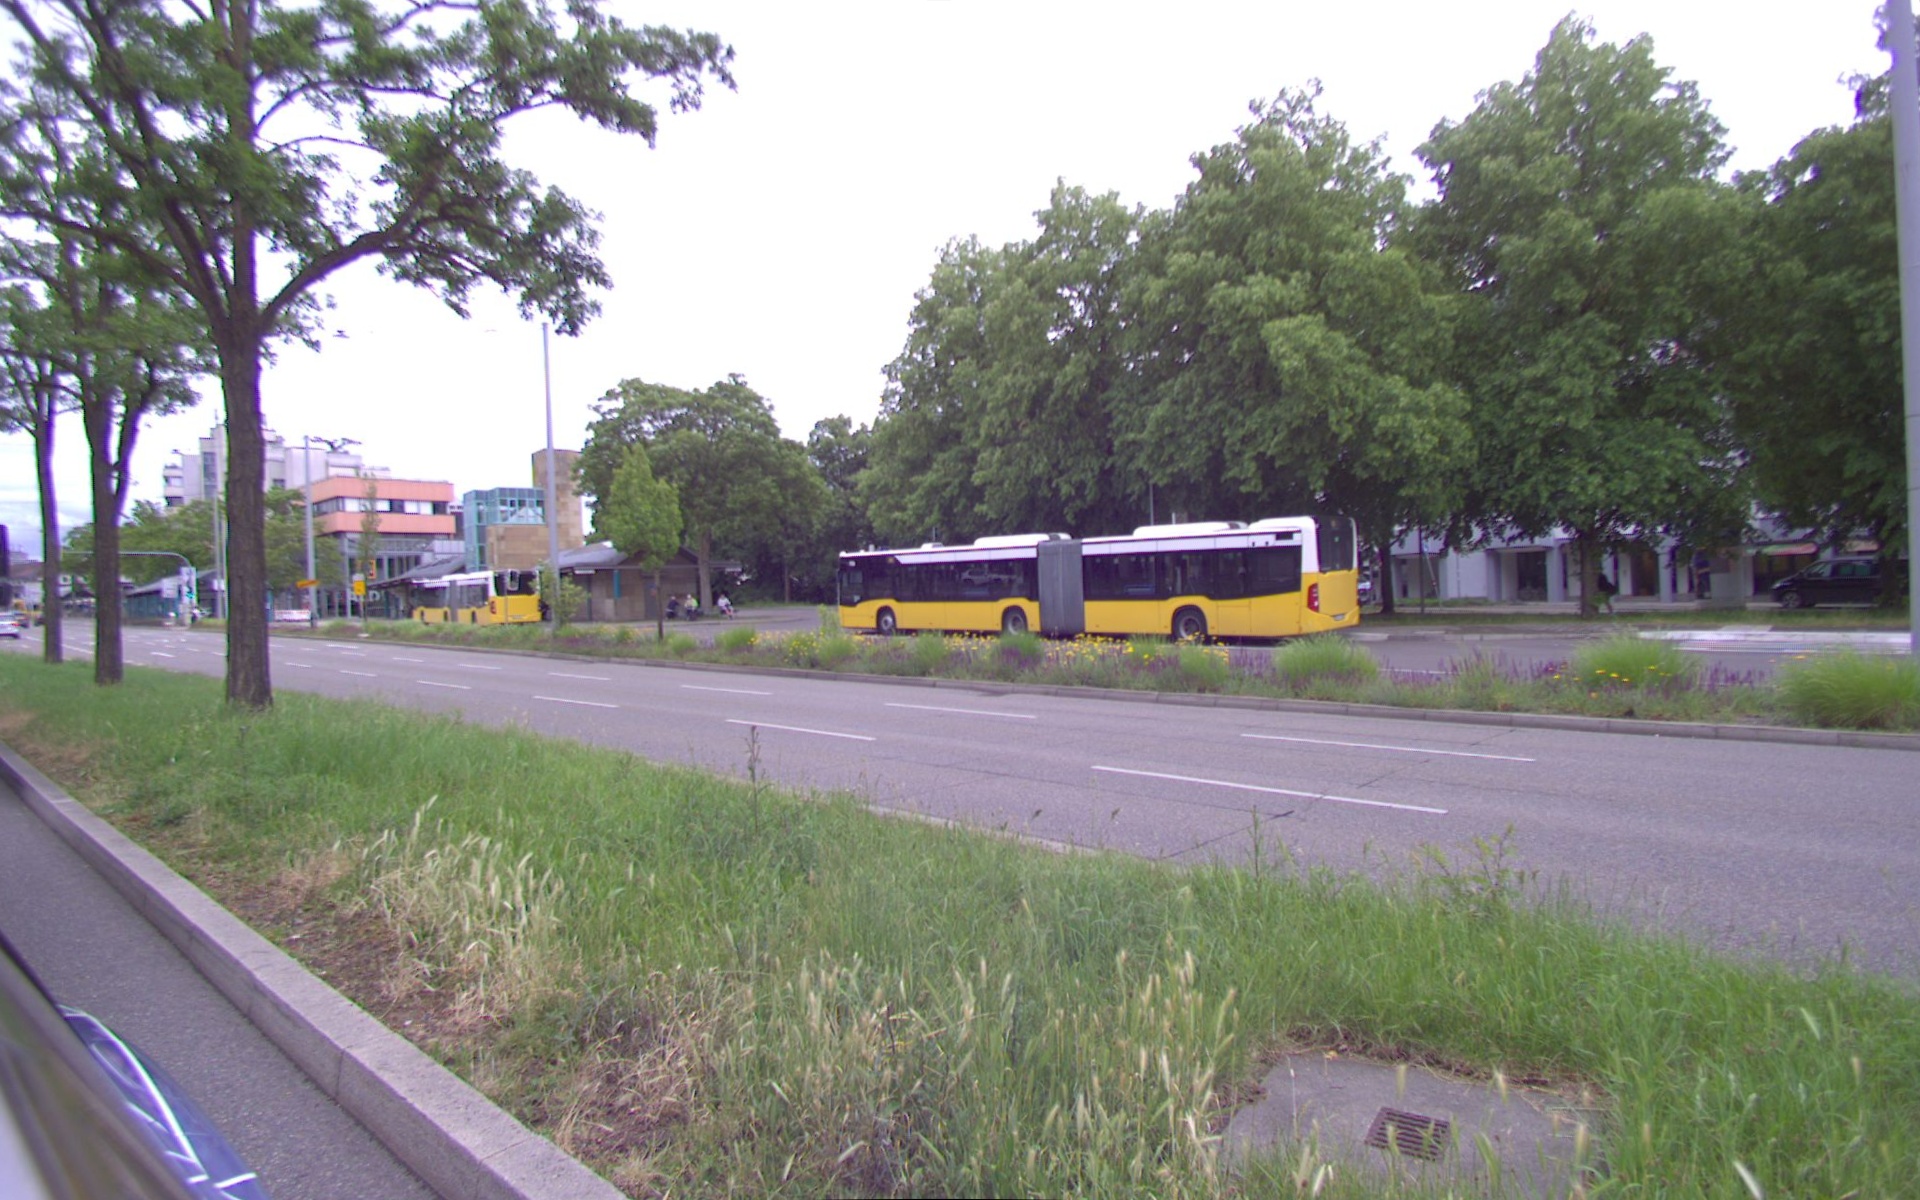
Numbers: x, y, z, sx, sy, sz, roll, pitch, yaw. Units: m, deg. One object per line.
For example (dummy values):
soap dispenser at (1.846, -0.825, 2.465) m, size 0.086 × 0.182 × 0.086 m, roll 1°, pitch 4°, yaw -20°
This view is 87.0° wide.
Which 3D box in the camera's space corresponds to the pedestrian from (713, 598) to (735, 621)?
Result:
pedestrian at (-11.917, 0.476, 51.109) m, size 0.924 × 1.180 × 0.641 m, roll -1°, pitch 0°, yaw 41°

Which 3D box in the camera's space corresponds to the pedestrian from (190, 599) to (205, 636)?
pedestrian at (-58.238, 1.324, 77.295) m, size 0.889 × 2.809 × 1.150 m, roll -1°, pitch 0°, yaw -36°

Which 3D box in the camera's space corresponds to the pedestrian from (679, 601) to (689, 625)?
pedestrian at (-13.736, 0.637, 50.395) m, size 0.361 × 1.175 × 0.900 m, roll -1°, pitch 0°, yaw -23°

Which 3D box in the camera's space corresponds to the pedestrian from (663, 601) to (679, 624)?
pedestrian at (-14.836, 0.652, 52.000) m, size 0.590 × 1.171 × 0.744 m, roll -1°, pitch 0°, yaw -35°

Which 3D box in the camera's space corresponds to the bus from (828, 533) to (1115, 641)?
bus at (-0.007, -0.303, 33.074) m, size 2.848 × 3.025 × 10.401 m, roll -1°, pitch 0°, yaw -44°

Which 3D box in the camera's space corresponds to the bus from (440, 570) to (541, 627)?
bus at (-25.719, -0.036, 55.158) m, size 2.845 × 2.830 × 9.192 m, roll -1°, pitch 0°, yaw -39°

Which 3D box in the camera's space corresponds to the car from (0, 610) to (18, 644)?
car at (-59.986, 1.675, 63.017) m, size 4.000 × 2.029 × 1.703 m, roll -1°, pitch 0°, yaw 43°

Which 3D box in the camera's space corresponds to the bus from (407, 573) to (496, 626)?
bus at (-31.373, 0.001, 62.181) m, size 2.846 × 3.025 × 9.191 m, roll -1°, pitch 0°, yaw -40°

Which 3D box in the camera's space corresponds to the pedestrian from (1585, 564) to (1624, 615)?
pedestrian at (20.330, -0.339, 31.903) m, size 0.904 × 1.569 × 0.761 m, roll -2°, pitch 0°, yaw 41°

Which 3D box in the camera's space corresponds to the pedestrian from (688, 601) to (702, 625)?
pedestrian at (-13.236, 0.631, 50.541) m, size 0.589 × 1.171 × 0.745 m, roll -1°, pitch 0°, yaw -23°

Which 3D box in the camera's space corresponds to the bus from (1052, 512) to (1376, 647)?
bus at (6.345, -0.420, 26.505) m, size 2.849 × 3.025 × 7.889 m, roll -1°, pitch 0°, yaw -44°

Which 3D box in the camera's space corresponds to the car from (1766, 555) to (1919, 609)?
car at (33.131, -0.633, 37.790) m, size 1.758 × 1.861 × 4.429 m, roll -1°, pitch 0°, yaw -35°
